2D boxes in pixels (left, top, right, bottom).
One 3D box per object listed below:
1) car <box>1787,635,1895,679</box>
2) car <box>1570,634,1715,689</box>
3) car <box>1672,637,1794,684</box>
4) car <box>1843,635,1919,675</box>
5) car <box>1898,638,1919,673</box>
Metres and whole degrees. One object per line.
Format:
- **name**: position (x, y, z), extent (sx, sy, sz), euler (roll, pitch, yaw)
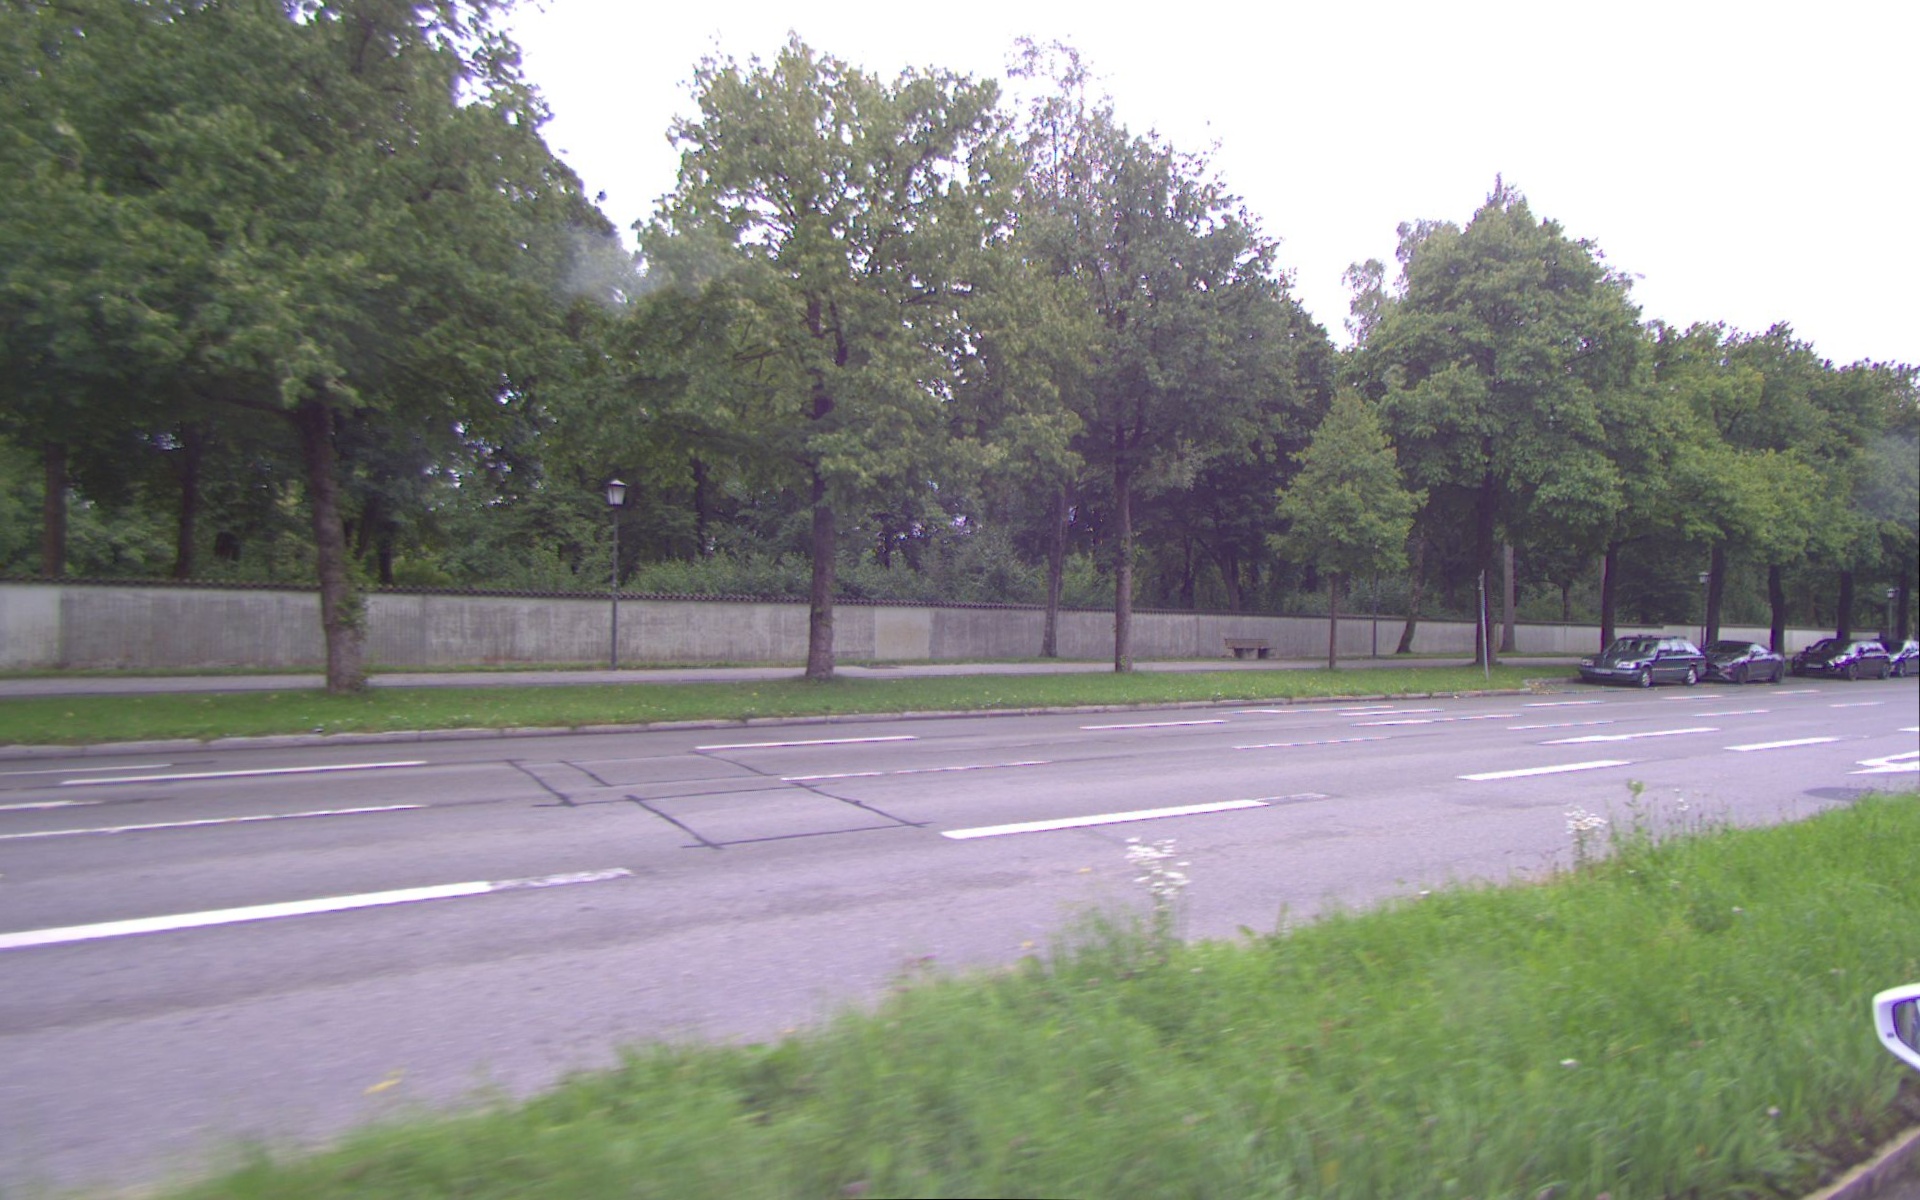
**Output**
- **car**: position (33.273, 2.123, 37.924), extent (4.247, 1.523, 1.565), euler (1, 0, -27)
- **car**: position (21.050, 1.858, 30.943), extent (4.858, 1.510, 1.790), euler (1, 0, -31)
- **car**: position (26.066, 2.005, 33.837), extent (4.652, 1.414, 1.651), euler (1, 0, -31)
- **car**: position (37.874, 2.219, 40.903), extent (4.745, 1.478, 1.578), euler (1, 0, -32)
- **car**: position (43.137, 2.455, 44.015), extent (4.751, 1.458, 1.628), euler (1, 0, -30)
